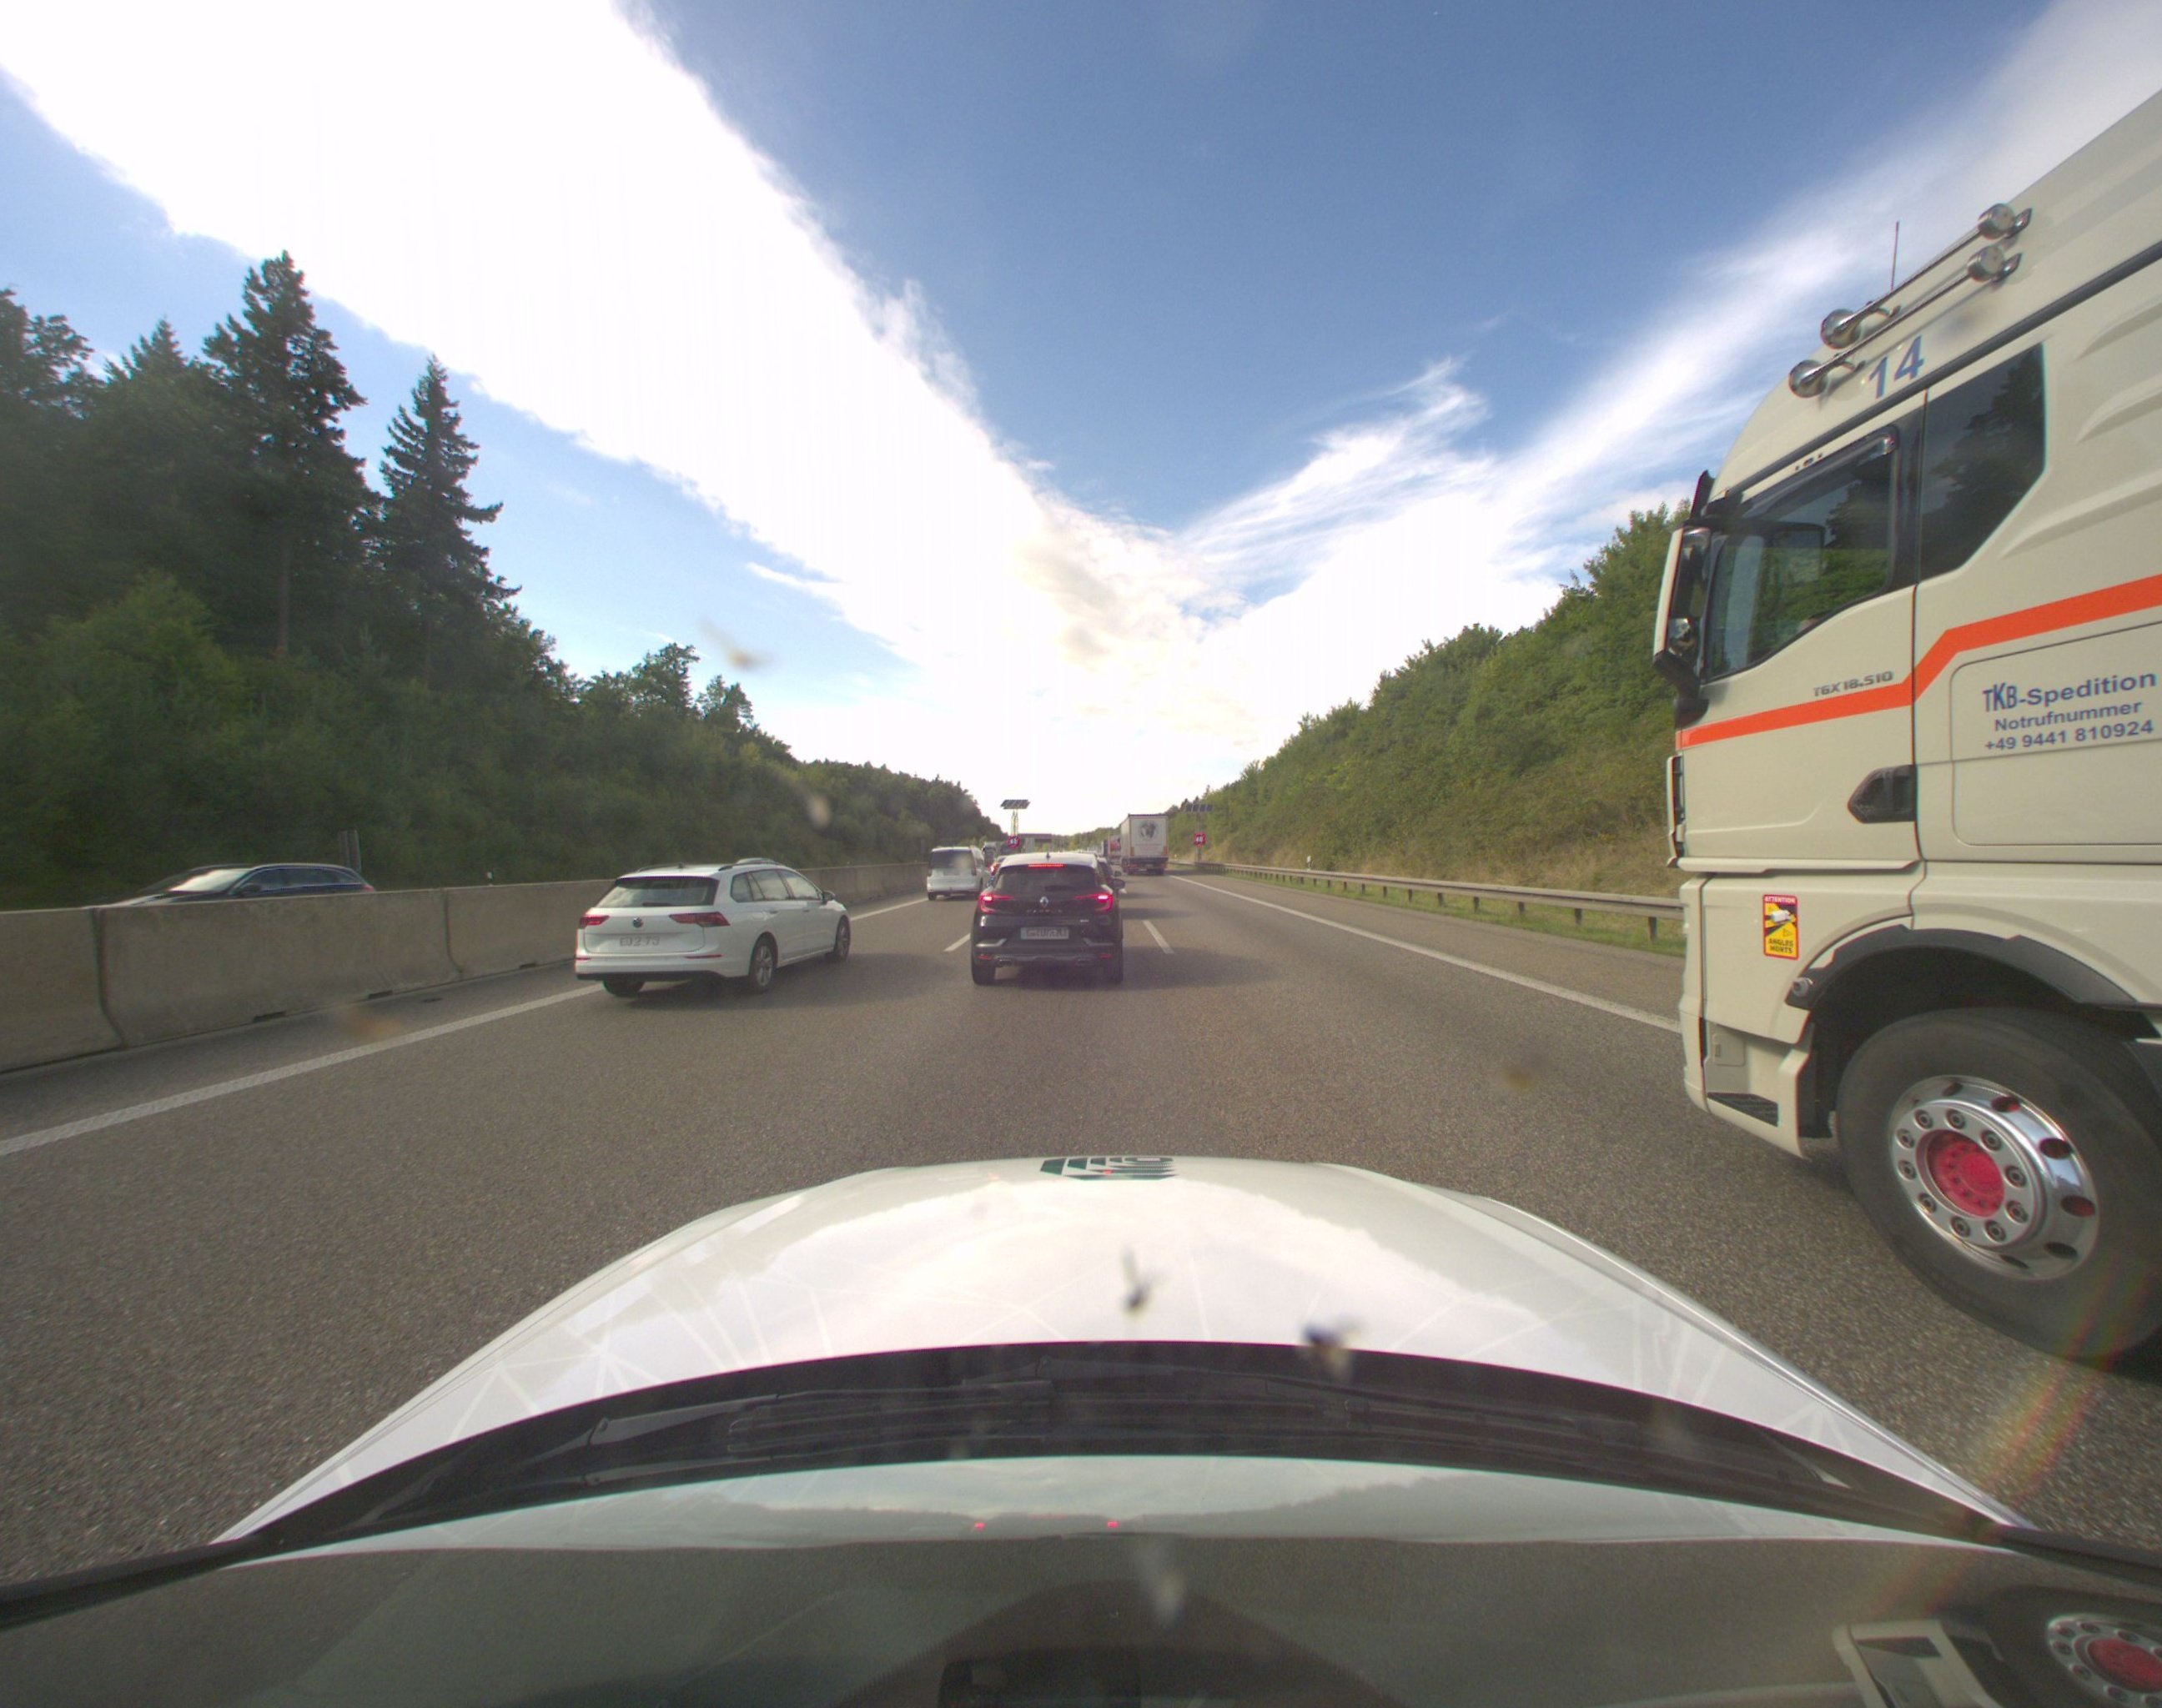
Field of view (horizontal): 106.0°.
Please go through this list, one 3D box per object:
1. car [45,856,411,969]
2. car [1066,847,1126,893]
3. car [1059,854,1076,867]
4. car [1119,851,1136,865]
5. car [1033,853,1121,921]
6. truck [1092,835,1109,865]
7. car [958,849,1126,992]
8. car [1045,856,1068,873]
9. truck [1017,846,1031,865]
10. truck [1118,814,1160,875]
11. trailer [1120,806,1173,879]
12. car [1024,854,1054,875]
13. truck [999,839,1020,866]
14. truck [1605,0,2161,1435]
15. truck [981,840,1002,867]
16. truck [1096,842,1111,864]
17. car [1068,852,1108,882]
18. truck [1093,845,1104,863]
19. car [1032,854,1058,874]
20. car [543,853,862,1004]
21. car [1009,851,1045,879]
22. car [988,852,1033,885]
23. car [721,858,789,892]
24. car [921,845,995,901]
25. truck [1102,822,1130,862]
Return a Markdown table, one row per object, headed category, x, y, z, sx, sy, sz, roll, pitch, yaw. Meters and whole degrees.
| category | x | y | z | sx | sy | sz | roll | pitch | yaw |
| --- | --- | --- | --- | --- | --- | --- | --- | --- | --- |
| car | -15.972 | 0.970 | 15.776 | 1.845 | 1.810 | 4.925 | -1 | 0 | 1 |
| car | 0.555 | 0.542 | 29.162 | 1.986 | 1.514 | 4.001 | -1 | -1 | 2 |
| car | -1.715 | 0.769 | 104.691 | 1.986 | 1.613 | 4.002 | -1 | 0 | 2 |
| car | 5.239 | 0.493 | 92.338 | 1.798 | 1.533 | 3.925 | -1 | -1 | 0 |
| car | -0.018 | 0.765 | 20.510 | 1.986 | 1.514 | 4.001 | -1 | -1 | 2 |
| truck | 3.840 | -0.724 | 159.819 | 3.154 | 5.505 | 12.743 | -1 | -1 | 2 |
| car | -0.327 | 0.744 | 11.025 | 1.797 | 1.552 | 4.004 | -1 | 0 | 4 |
| car | -2.419 | 1.028 | 81.329 | 1.986 | 1.613 | 4.002 | -1 | 0 | 2 |
| truck | -15.499 | 0.311 | 222.396 | 2.880 | 5.093 | 10.082 | -1 | 0 | 1 |
| truck | 4.618 | -0.753 | 65.642 | 2.986 | 4.667 | 5.940 | -1 | 0 | 1 |
| trailer | 4.484 | -0.745 | 58.534 | 2.991 | 4.661 | 13.292 | -1 | 0 | 1 |
| car | -3.268 | 0.799 | 63.640 | 1.986 | 1.613 | 4.001 | -1 | -1 | 2 |
| truck | -13.653 | -0.309 | 156.534 | 2.880 | 4.934 | 10.082 | -1 | 0 | 1 |
| truck | 3.972 | -0.625 | 1.145 | 2.792 | 4.043 | 5.907 | -1 | 0 | 2 |
| truck | -17.820 | -0.131 | 163.413 | 2.880 | 5.093 | 10.082 | -1 | 0 | 1 |
| truck | 5.742 | -0.195 | 203.352 | 3.153 | 5.505 | 12.749 | -1 | -1 | 4 |
| car | 0.398 | 0.658 | 42.761 | 1.986 | 1.514 | 4.001 | -1 | -1 | 2 |
| truck | 5.161 | 0.029 | 237.746 | 3.154 | 5.159 | 12.743 | -1 | -1 | 2 |
| car | -3.112 | 0.861 | 71.175 | 1.986 | 1.613 | 4.001 | -1 | -1 | 2 |
| car | -4.320 | 0.749 | 10.186 | 1.797 | 1.461 | 4.311 | -1 | 0 | 2 |
| car | -3.510 | 0.720 | 53.998 | 1.986 | 1.722 | 4.001 | -1 | -1 | 2 |
| car | -3.661 | 0.737 | 42.853 | 1.848 | 1.641 | 3.928 | -1 | -1 | 2 |
| car | -18.830 | 1.165 | 47.302 | 1.845 | 1.810 | 4.925 | -1 | 0 | 1 |
| car | -4.256 | 0.643 | 28.932 | 1.905 | 1.789 | 4.417 | -1 | -1 | 0 |
| truck | 4.625 | -1.427 | 107.991 | 3.352 | 5.044 | 12.743 | -1 | -1 | 2 |
